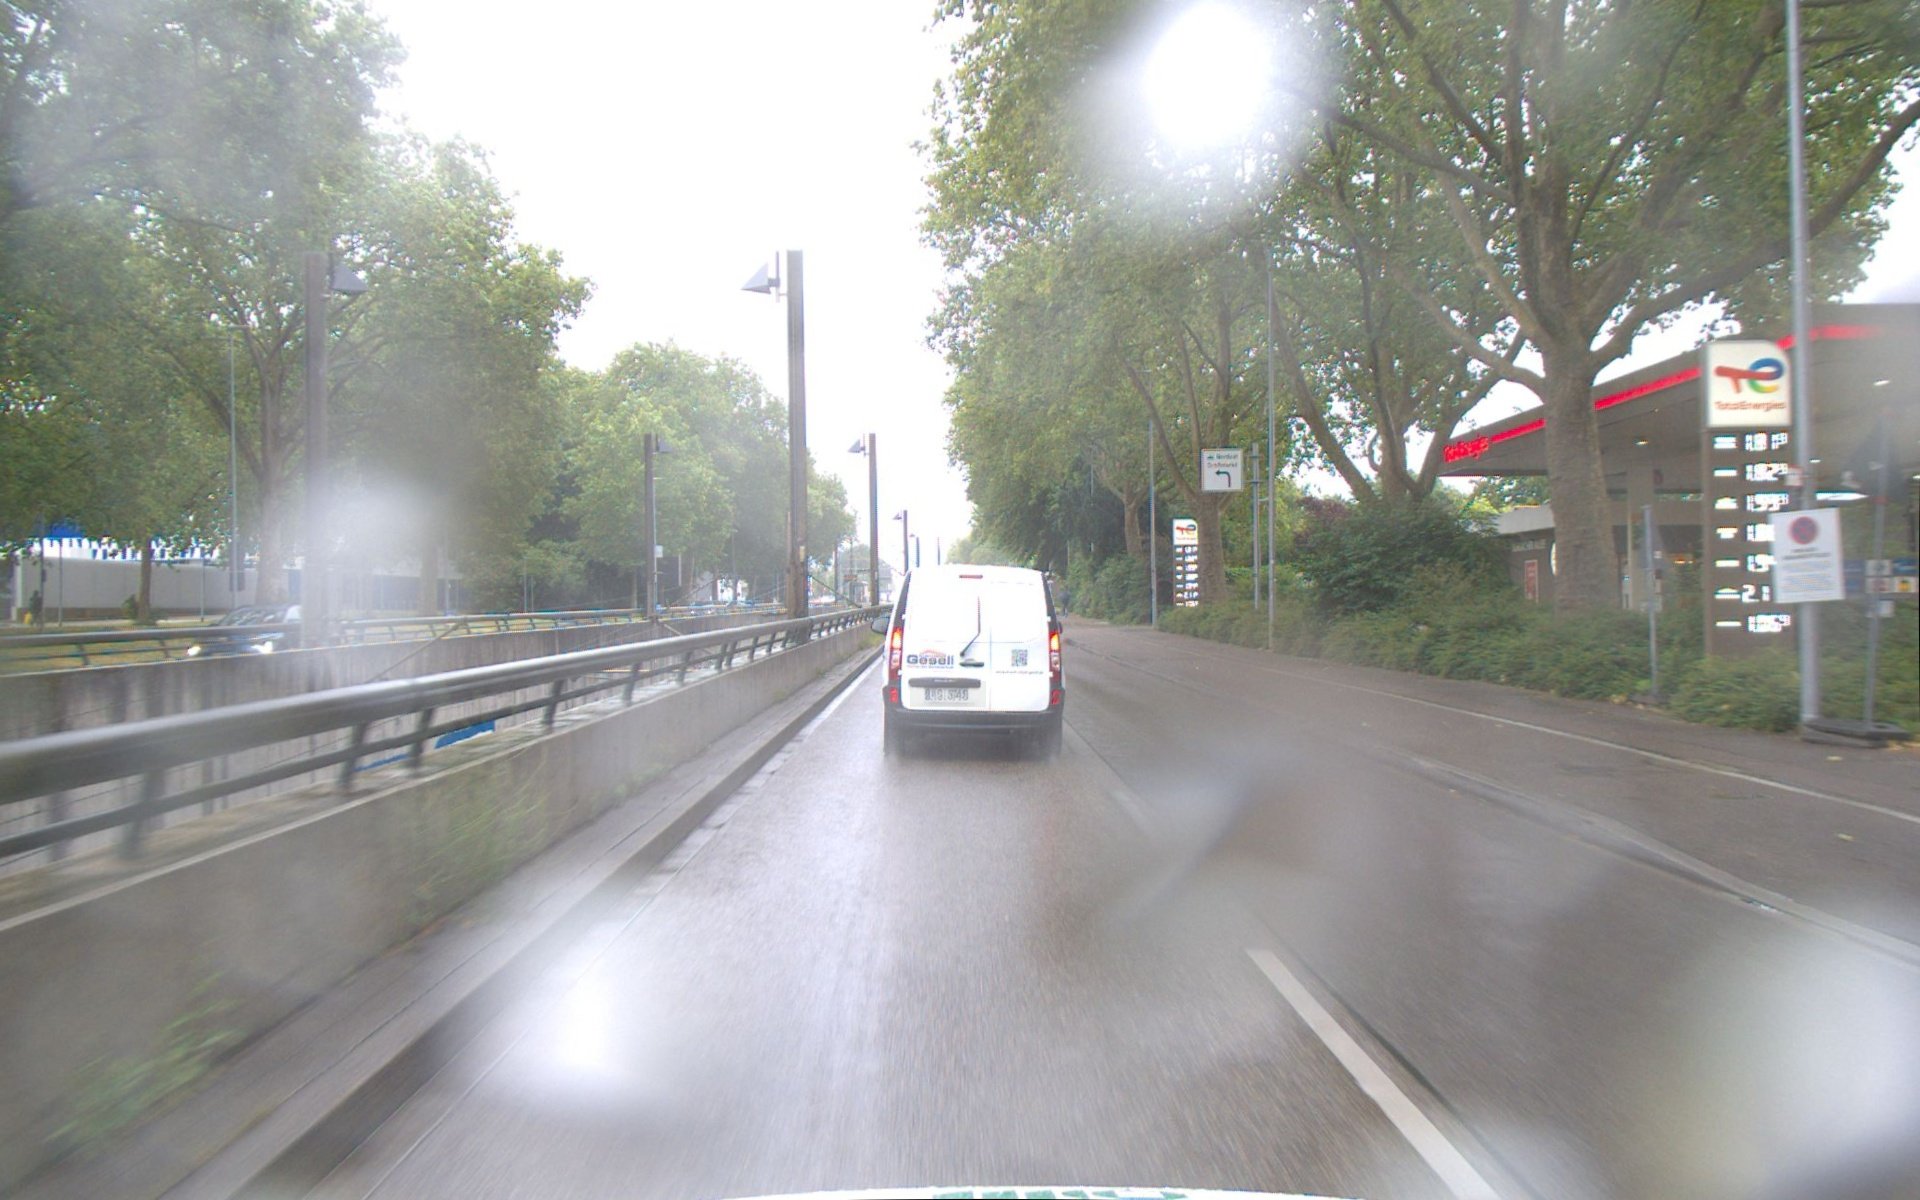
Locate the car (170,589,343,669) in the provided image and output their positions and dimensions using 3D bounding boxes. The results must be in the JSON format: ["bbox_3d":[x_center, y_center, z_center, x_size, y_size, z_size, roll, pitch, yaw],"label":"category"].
[{"bbox_3d":[-15.114,0.581,35.759,1.867,1.598,4.001,-1,0,2],"label":"car"}]

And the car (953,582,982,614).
[{"bbox_3d":[0.563,-0.140,116.366,2.006,2.177,4.000,-1,-1,1],"label":"car"}]

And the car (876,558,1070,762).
[{"bbox_3d":[0.078,0.554,16.797,1.720,1.809,3.999,0,-1,-1],"label":"car"}]

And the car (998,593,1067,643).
[{"bbox_3d":[2.437,0.617,56.401,1.954,1.613,3.997,-1,-1,-3],"label":"car"}]
